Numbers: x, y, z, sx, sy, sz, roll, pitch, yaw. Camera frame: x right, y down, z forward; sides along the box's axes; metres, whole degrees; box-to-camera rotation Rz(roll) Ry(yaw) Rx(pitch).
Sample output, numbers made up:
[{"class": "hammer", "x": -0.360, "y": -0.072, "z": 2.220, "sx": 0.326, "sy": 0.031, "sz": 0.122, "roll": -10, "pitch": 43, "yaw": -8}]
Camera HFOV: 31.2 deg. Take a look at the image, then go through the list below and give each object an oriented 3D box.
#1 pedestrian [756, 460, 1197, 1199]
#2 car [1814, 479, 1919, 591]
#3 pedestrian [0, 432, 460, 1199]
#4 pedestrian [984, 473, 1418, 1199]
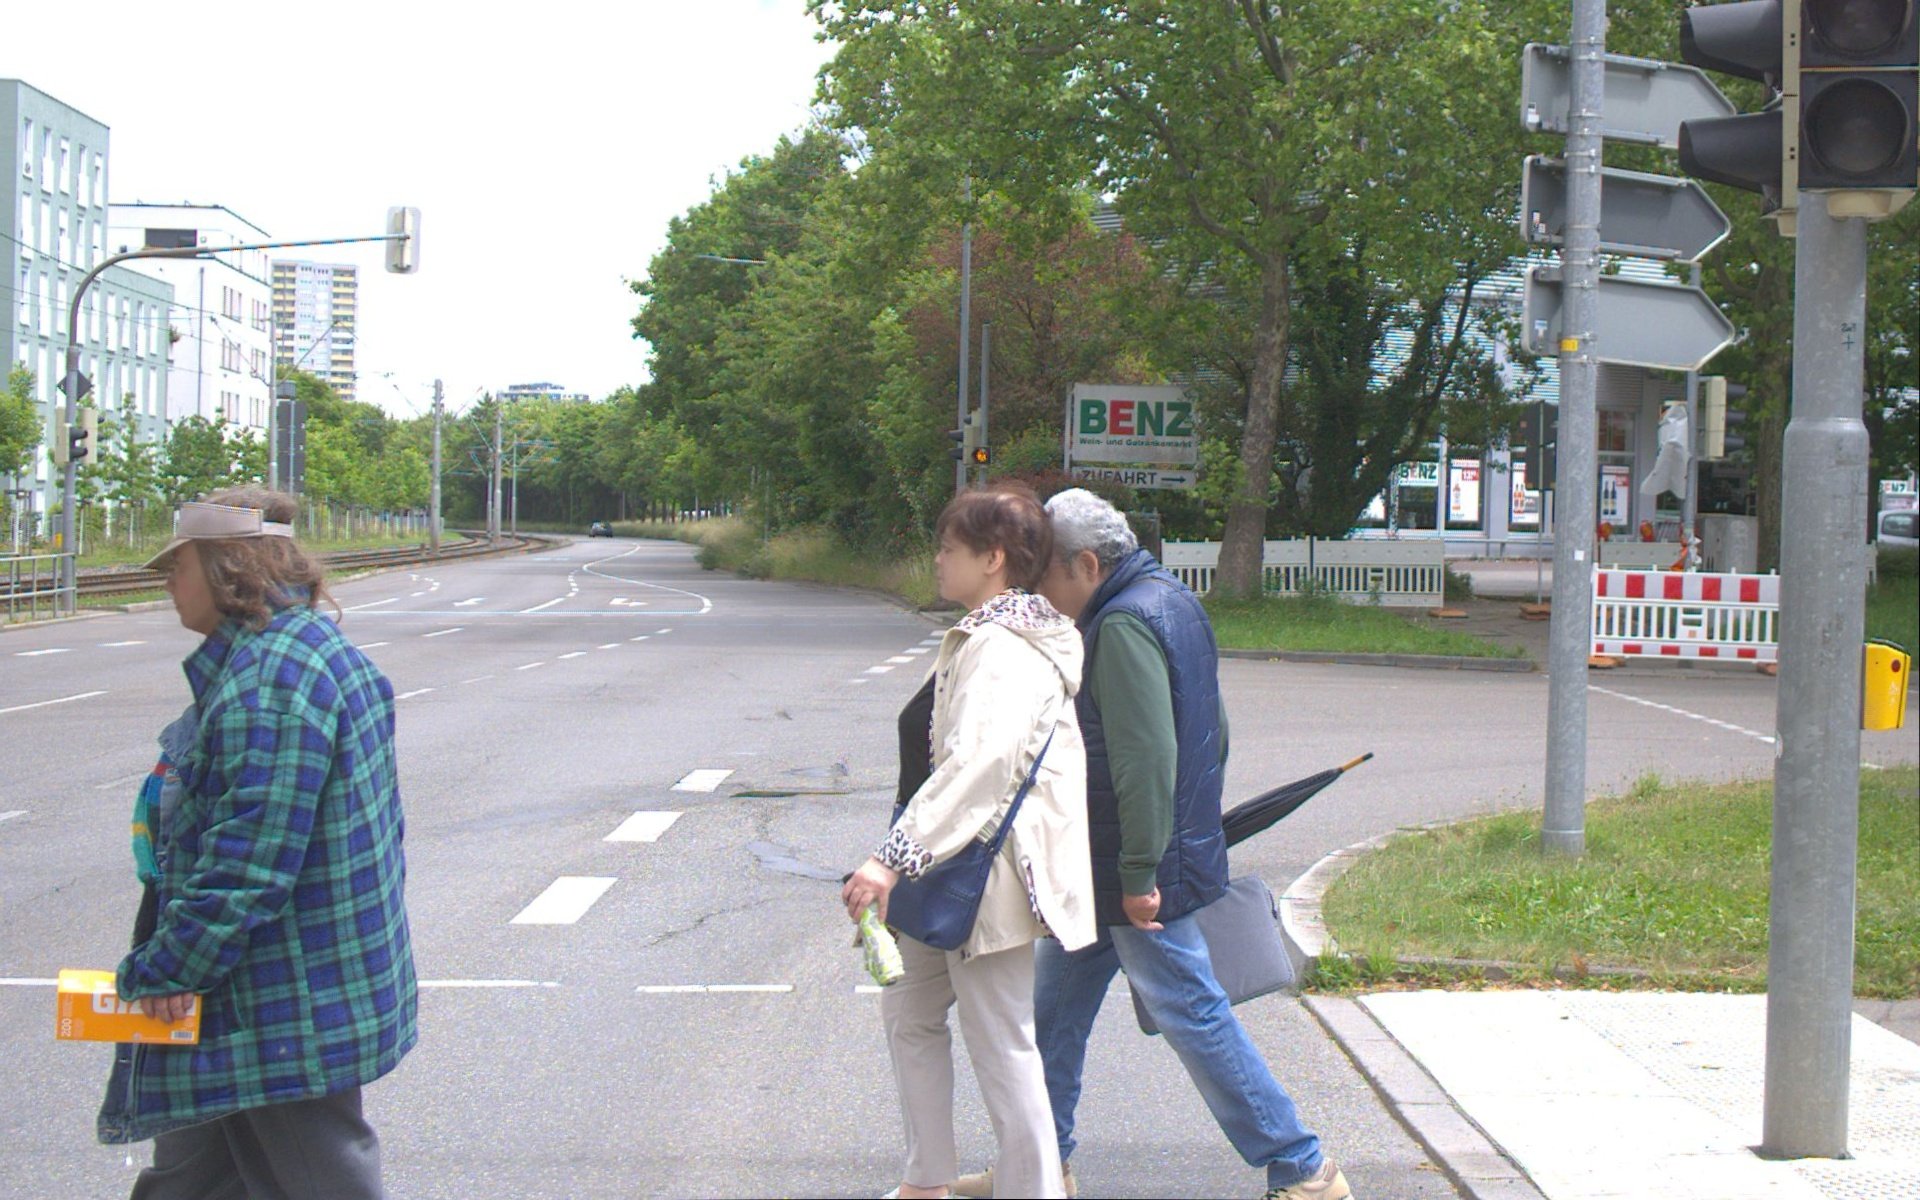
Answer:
[{"class": "pedestrian", "x": 0.037, "y": 0.547, "z": 6.897, "sx": 0.822, "sy": 1.634, "sz": 0.733, "roll": 1, "pitch": 1, "yaw": 1}, {"class": "car", "x": 17.741, "y": -1.179, "z": 62.570, "sx": 1.993, "sy": 2.007, "sz": 4.000, "roll": 0, "pitch": 2, "yaw": -32}, {"class": "pedestrian", "x": -1.239, "y": 0.571, "z": 5.601, "sx": 0.822, "sy": 1.665, "sz": 0.733, "roll": 0, "pitch": 1, "yaw": -9}, {"class": "pedestrian", "x": 0.518, "y": 0.548, "z": 7.440, "sx": 0.868, "sy": 1.629, "sz": 0.765, "roll": 1, "pitch": 1, "yaw": 4}]
